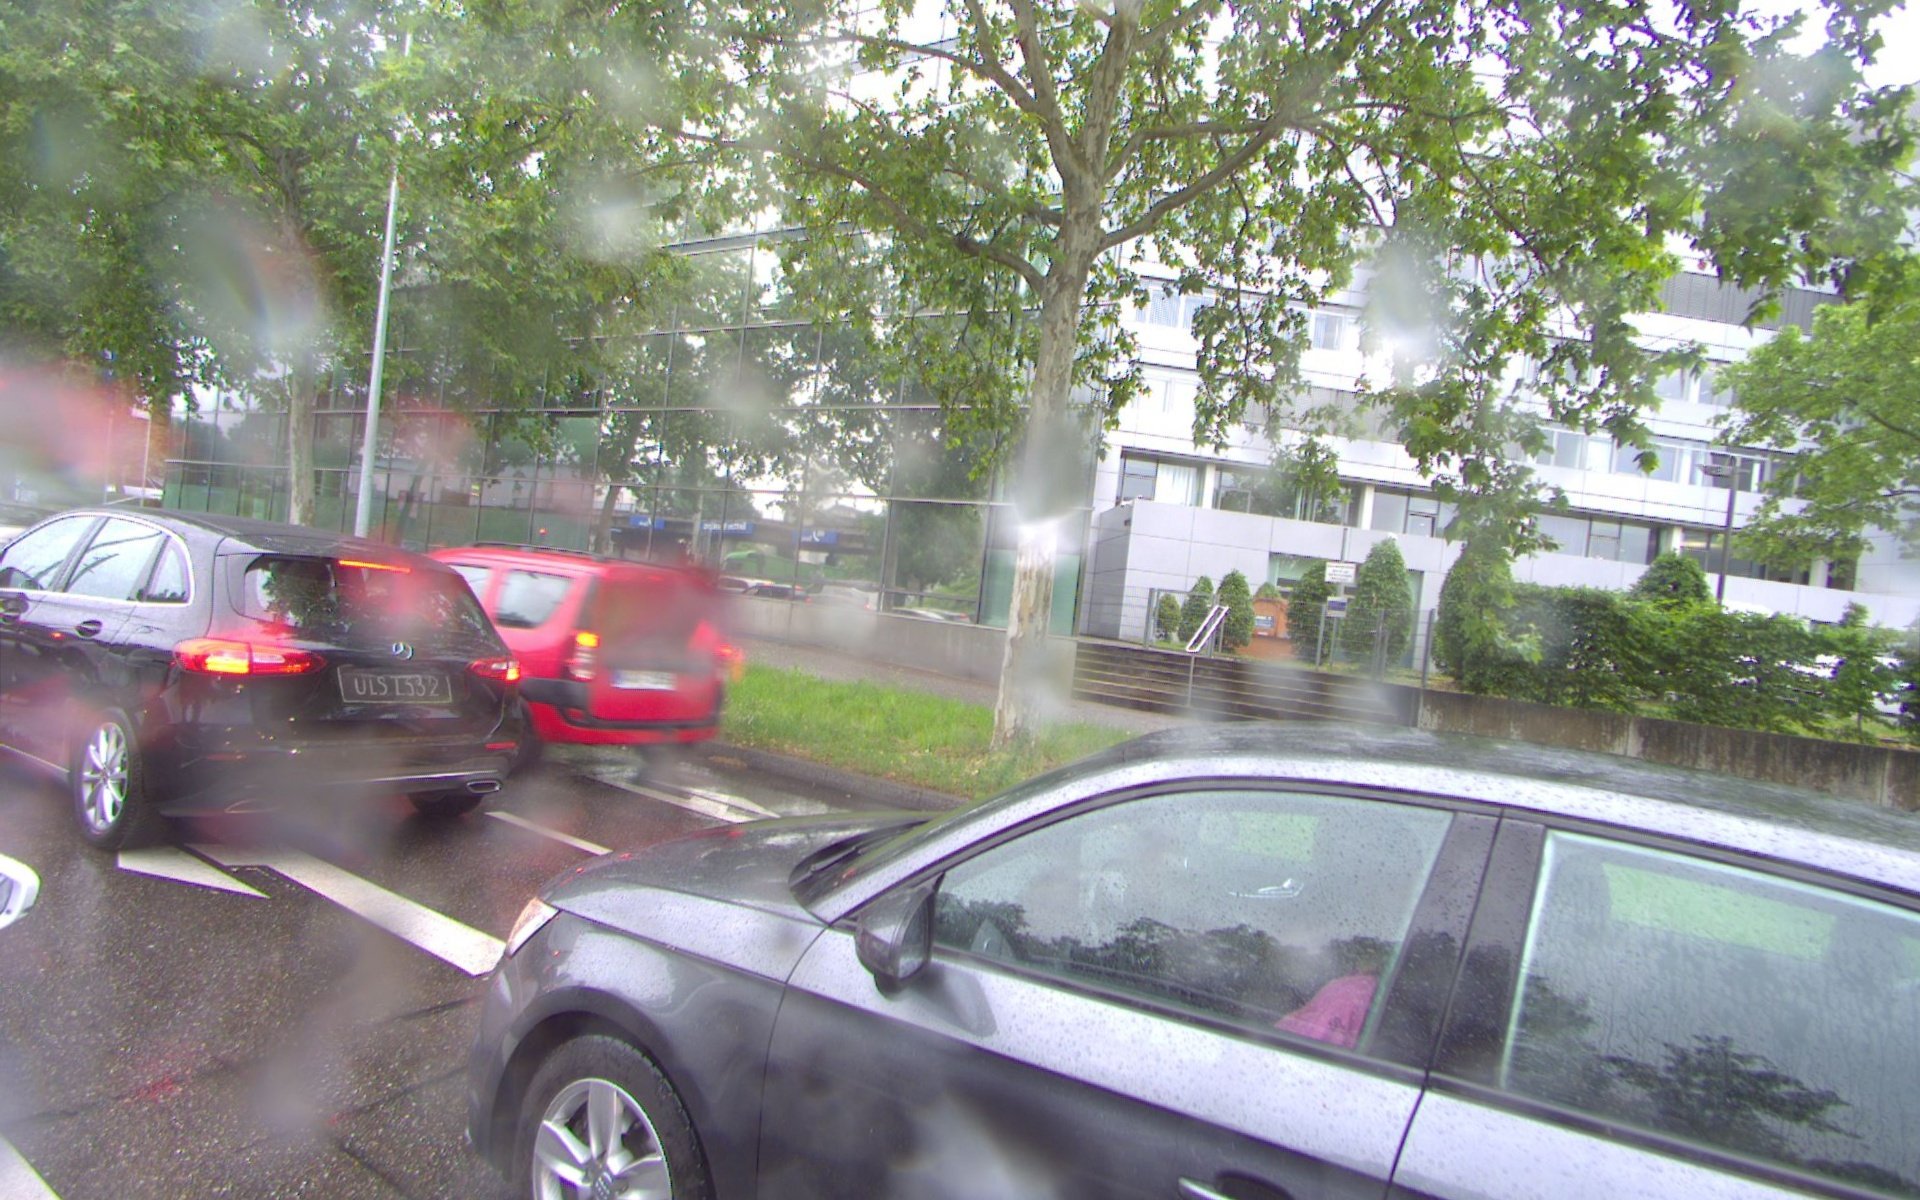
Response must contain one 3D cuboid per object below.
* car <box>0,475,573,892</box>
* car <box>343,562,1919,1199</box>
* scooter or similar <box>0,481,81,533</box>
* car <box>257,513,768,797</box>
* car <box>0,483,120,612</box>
[{"bbox_3d":[-4.349,0.247,5.756,4.022,1.573,1.751,7,-1,31],"label":"car"},{"bbox_3d":[0.601,0.886,2.166,3.718,1.445,1.679,7,-1,31],"label":"car"},{"bbox_3d":[-54.529,-5.517,58.148,5.228,2.476,1.893,7,0,-9],"label":"scooter or similar"},{"bbox_3d":[-3.863,0.355,8.485,4.201,1.714,1.714,6,-2,31],"label":"car"},{"bbox_3d":[-14.669,-0.949,15.093,3.933,1.631,1.880,7,-2,32],"label":"car"}]
